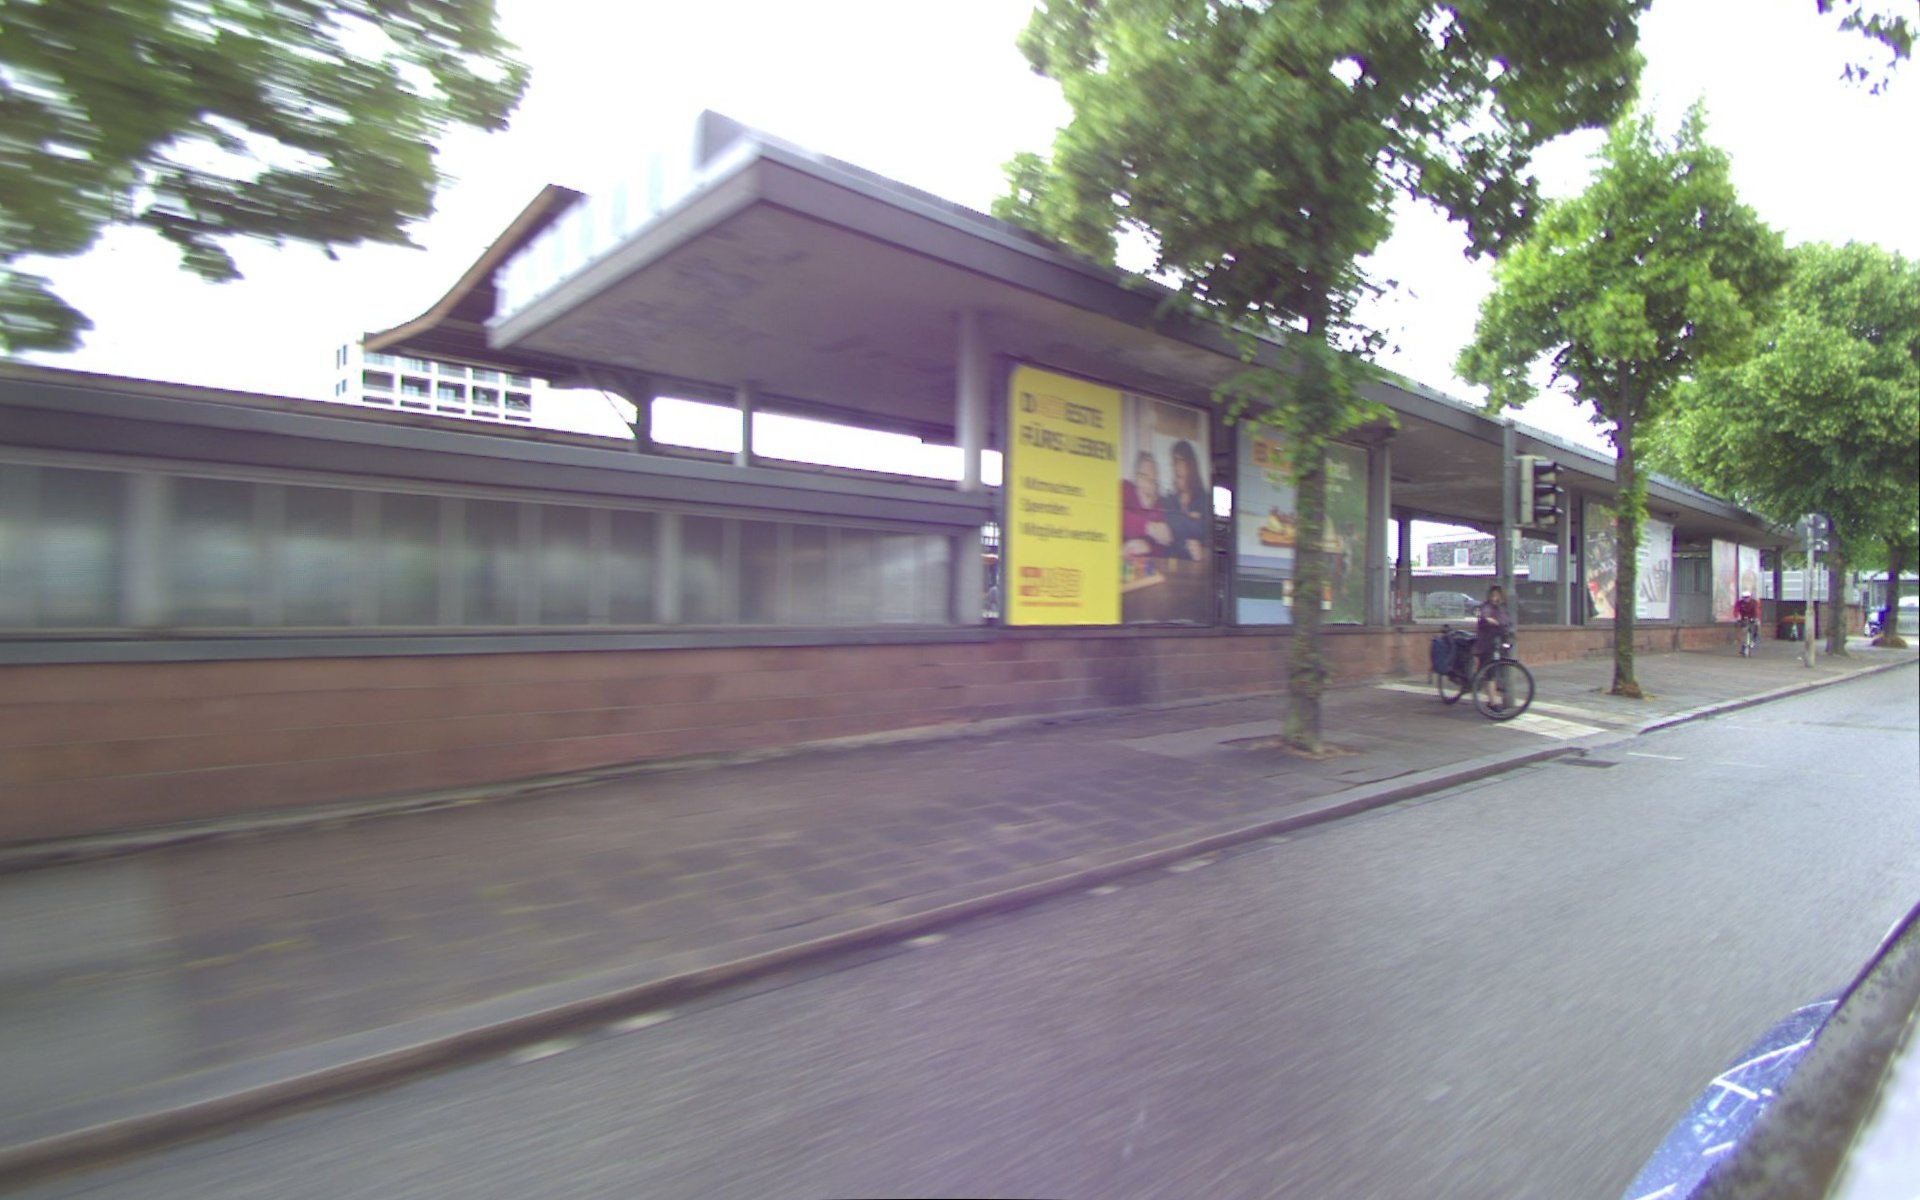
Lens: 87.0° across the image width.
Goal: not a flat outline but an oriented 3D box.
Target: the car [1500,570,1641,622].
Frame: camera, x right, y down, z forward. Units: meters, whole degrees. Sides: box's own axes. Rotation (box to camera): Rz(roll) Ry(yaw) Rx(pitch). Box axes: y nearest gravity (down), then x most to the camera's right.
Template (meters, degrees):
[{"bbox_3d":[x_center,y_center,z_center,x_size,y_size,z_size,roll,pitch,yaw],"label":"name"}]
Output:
[{"bbox_3d":[20.292,-0.174,33.731,1.717,1.561,3.688,0,2,-42],"label":"car"}]

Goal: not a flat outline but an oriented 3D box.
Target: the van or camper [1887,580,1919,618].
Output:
[{"bbox_3d":[76.606,-0.047,78.533,6.448,2.905,2.266,2,1,20],"label":"van or camper"}]

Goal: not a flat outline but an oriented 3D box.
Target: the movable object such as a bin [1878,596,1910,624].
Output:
[{"bbox_3d":[47.026,0.516,50.951,1.295,1.355,1.035,1,1,-43],"label":"movable object such as a bin"}]

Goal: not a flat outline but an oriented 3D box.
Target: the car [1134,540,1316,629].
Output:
[{"bbox_3d":[6.292,-0.351,23.767,4.520,1.894,1.996,0,1,-42],"label":"car"}]

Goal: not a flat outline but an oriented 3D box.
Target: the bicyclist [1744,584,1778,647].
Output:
[{"bbox_3d":[20.273,0.383,25.616,0.683,1.557,0.534,0,2,-43],"label":"bicyclist"}]

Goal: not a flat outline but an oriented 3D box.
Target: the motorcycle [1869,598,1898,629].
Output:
[{"bbox_3d":[42.142,0.619,46.181,2.416,1.364,0.792,0,1,-43],"label":"motorcycle"}]

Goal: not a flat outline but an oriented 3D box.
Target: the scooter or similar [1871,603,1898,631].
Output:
[{"bbox_3d":[40.695,0.718,44.562,0.490,1.167,1.698,1,1,29],"label":"scooter or similar"}]

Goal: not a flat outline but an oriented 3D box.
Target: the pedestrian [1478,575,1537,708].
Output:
[{"bbox_3d":[6.684,0.495,12.361,0.385,1.588,0.459,1,1,-6],"label":"pedestrian"}]

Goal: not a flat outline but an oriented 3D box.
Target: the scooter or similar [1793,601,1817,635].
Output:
[{"bbox_3d":[30.722,0.642,36.774,1.519,1.167,0.493,0,1,-44],"label":"scooter or similar"}]

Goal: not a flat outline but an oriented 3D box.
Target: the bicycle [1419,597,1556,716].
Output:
[{"bbox_3d":[6.336,0.639,12.272,0.476,1.264,1.729,2,2,-9],"label":"bicycle"}]

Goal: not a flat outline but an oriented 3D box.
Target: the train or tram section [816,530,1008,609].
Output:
[{"bbox_3d":[-2.038,-1.374,47.101,9.357,3.323,2.658,0,2,-42],"label":"train or tram section"}]

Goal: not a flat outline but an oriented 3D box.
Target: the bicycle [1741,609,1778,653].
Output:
[{"bbox_3d":[20.268,0.775,25.654,1.649,1.028,0.447,0,3,-43],"label":"bicycle"}]
